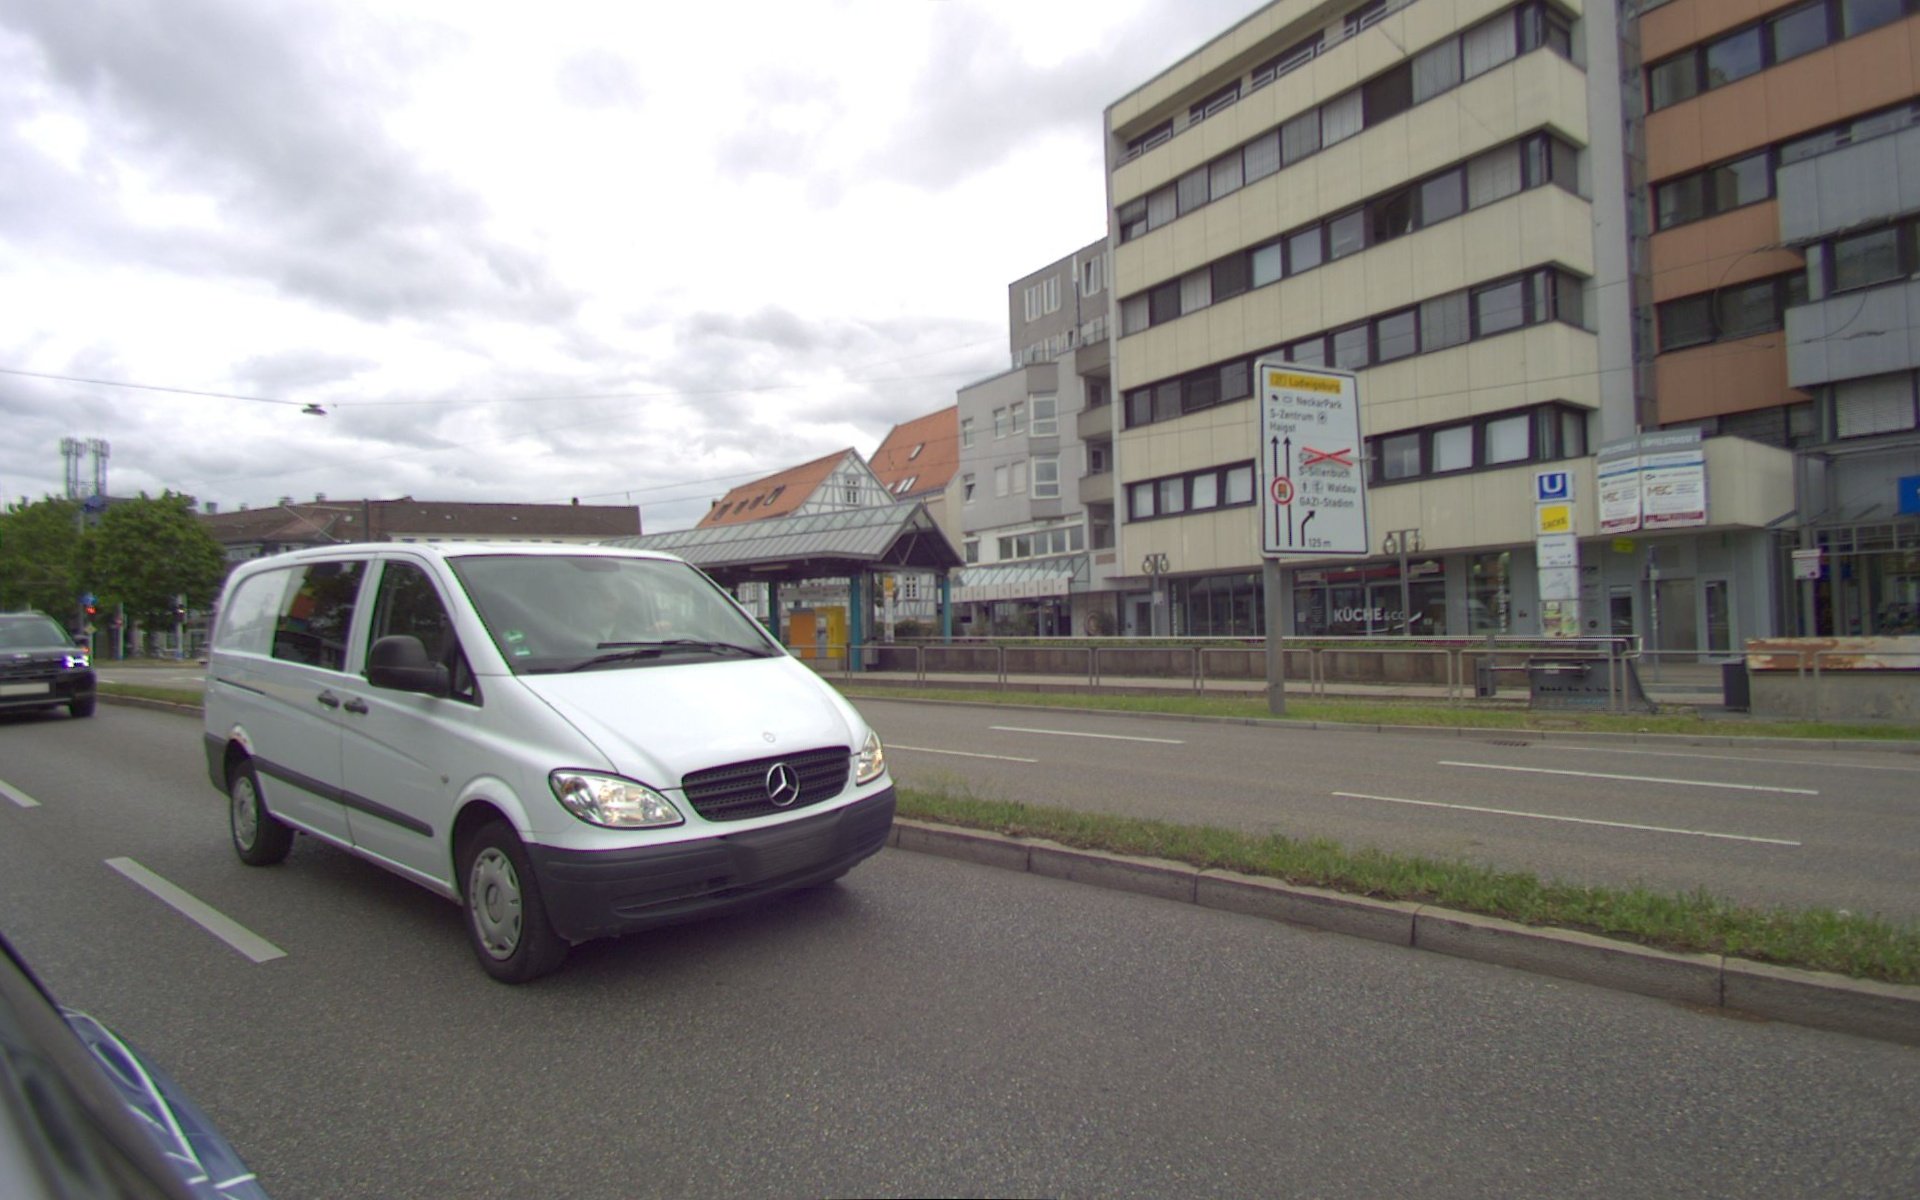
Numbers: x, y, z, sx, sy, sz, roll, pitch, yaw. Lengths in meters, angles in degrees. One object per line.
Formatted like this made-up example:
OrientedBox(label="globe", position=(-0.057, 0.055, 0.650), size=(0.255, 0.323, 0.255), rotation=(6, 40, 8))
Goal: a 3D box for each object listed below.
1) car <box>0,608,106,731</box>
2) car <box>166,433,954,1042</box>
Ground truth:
OrientedBox(label="car", position=(-15.792, 1.098, 16.532), size=(4.672, 1.764, 1.904), rotation=(-2, 0, 38))
OrientedBox(label="car", position=(-2.602, 0.533, 5.703), size=(5.070, 2.029, 1.855), rotation=(-3, -1, 39))
